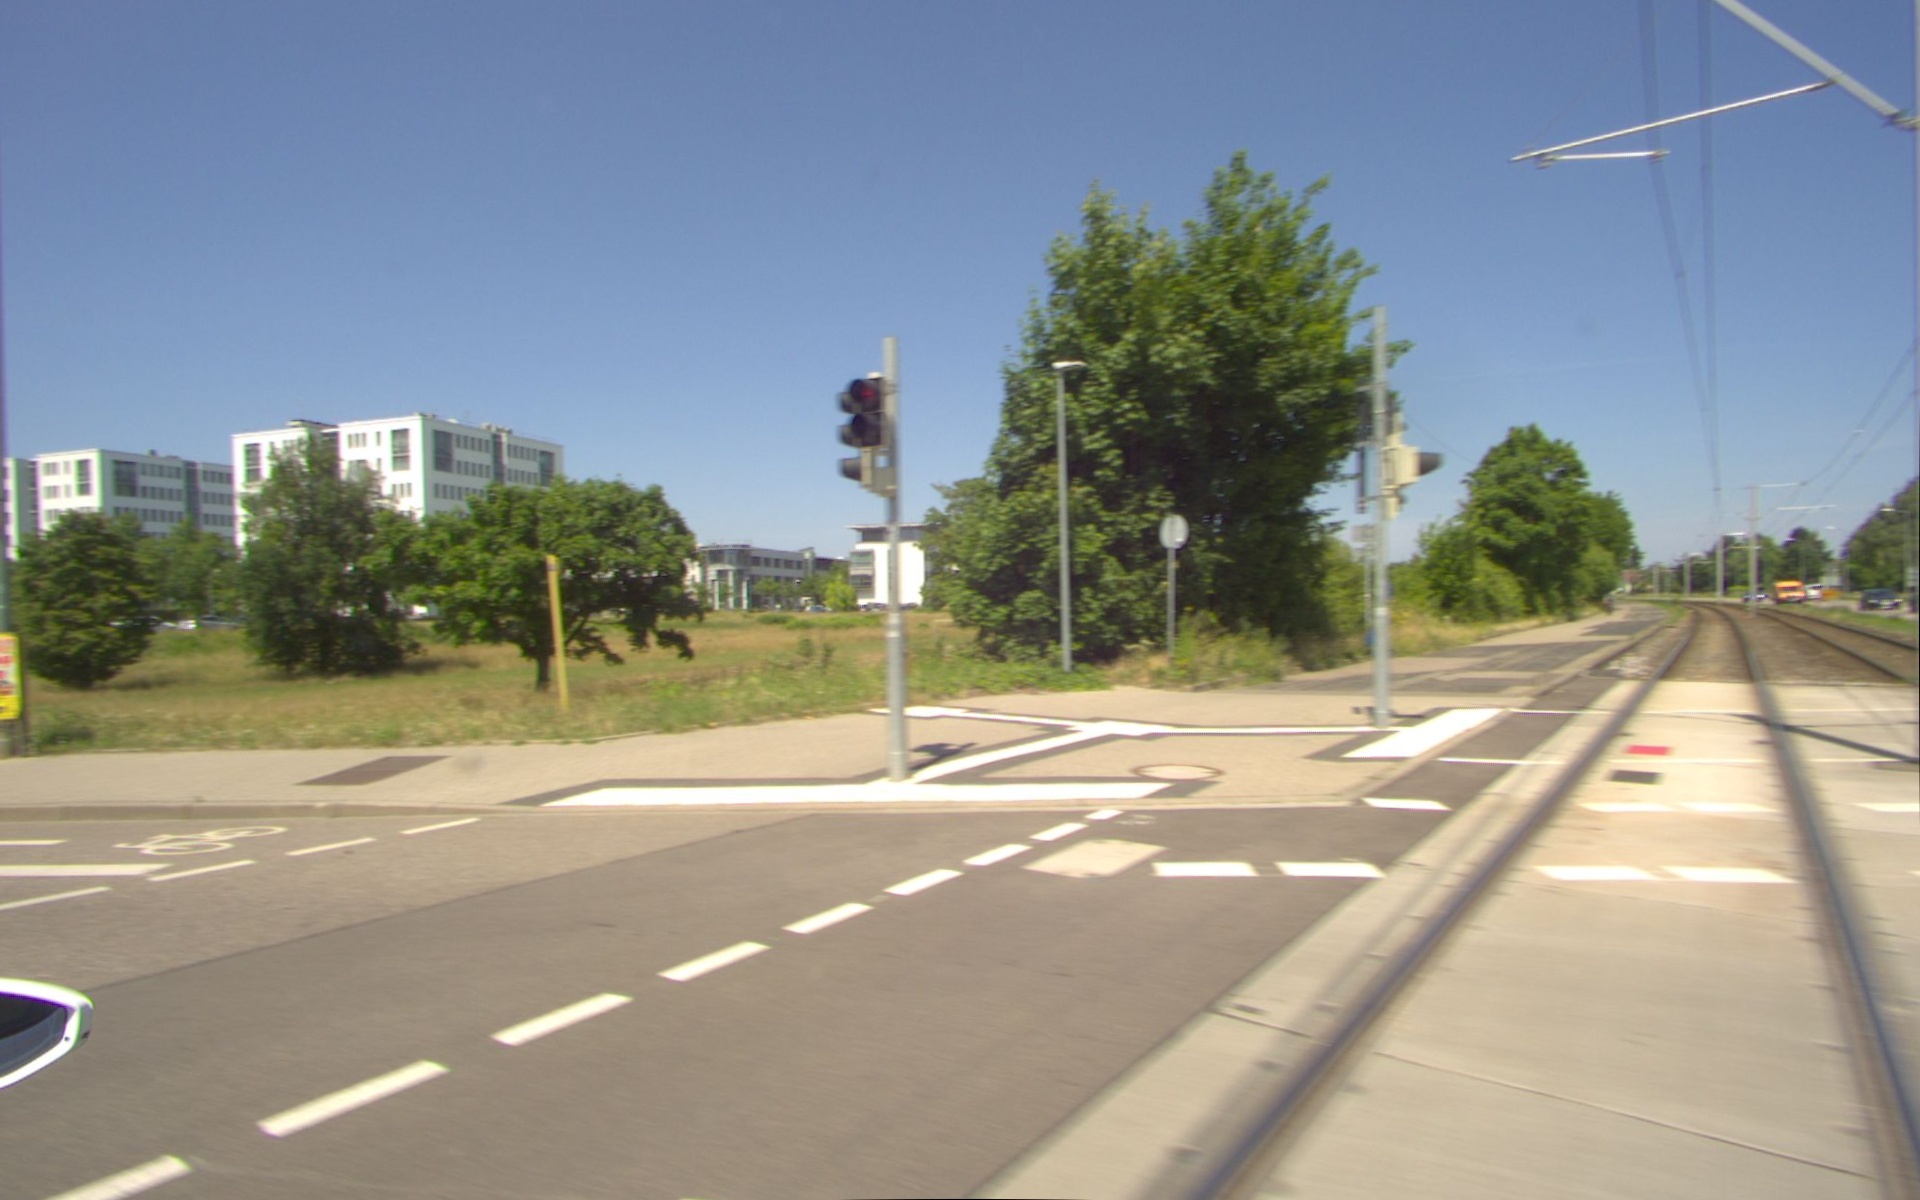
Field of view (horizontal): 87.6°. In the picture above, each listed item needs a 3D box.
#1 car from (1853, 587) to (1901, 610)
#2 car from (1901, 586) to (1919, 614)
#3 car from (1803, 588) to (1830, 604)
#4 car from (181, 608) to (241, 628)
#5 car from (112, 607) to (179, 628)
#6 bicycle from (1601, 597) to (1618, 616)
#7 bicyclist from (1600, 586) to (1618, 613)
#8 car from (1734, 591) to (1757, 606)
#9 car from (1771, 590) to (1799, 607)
[{"bbox_3d":[63.969,-0.112,69.903,1.849,1.597,4.385,1,1,35],"label":"car"},{"bbox_3d":[57.588,0.013,59.403,1.849,1.597,4.385,1,1,35],"label":"car"},{"bbox_3d":[99.188,-0.426,116.042,1.747,1.779,3.978,2,1,32],"label":"car"},{"bbox_3d":[-59.901,1.458,80.156,1.675,1.552,3.625,-1,-2,15],"label":"car"},{"bbox_3d":[-61.306,1.352,75.406,1.675,1.552,3.625,-1,-2,15],"label":"car"},{"bbox_3d":[50.401,0.519,77.721,1.049,1.363,2.681,-4,-2,32],"label":"bicycle"},{"bbox_3d":[50.390,-0.052,77.770,1.060,2.039,1.179,-3,-2,33],"label":"bicyclist"},{"bbox_3d":[104.429,-0.180,133.097,1.972,1.812,3.978,-2,-1,33],"label":"car"},{"bbox_3d":[85.354,-0.148,103.608,1.849,1.708,4.385,1,1,35],"label":"car"}]
